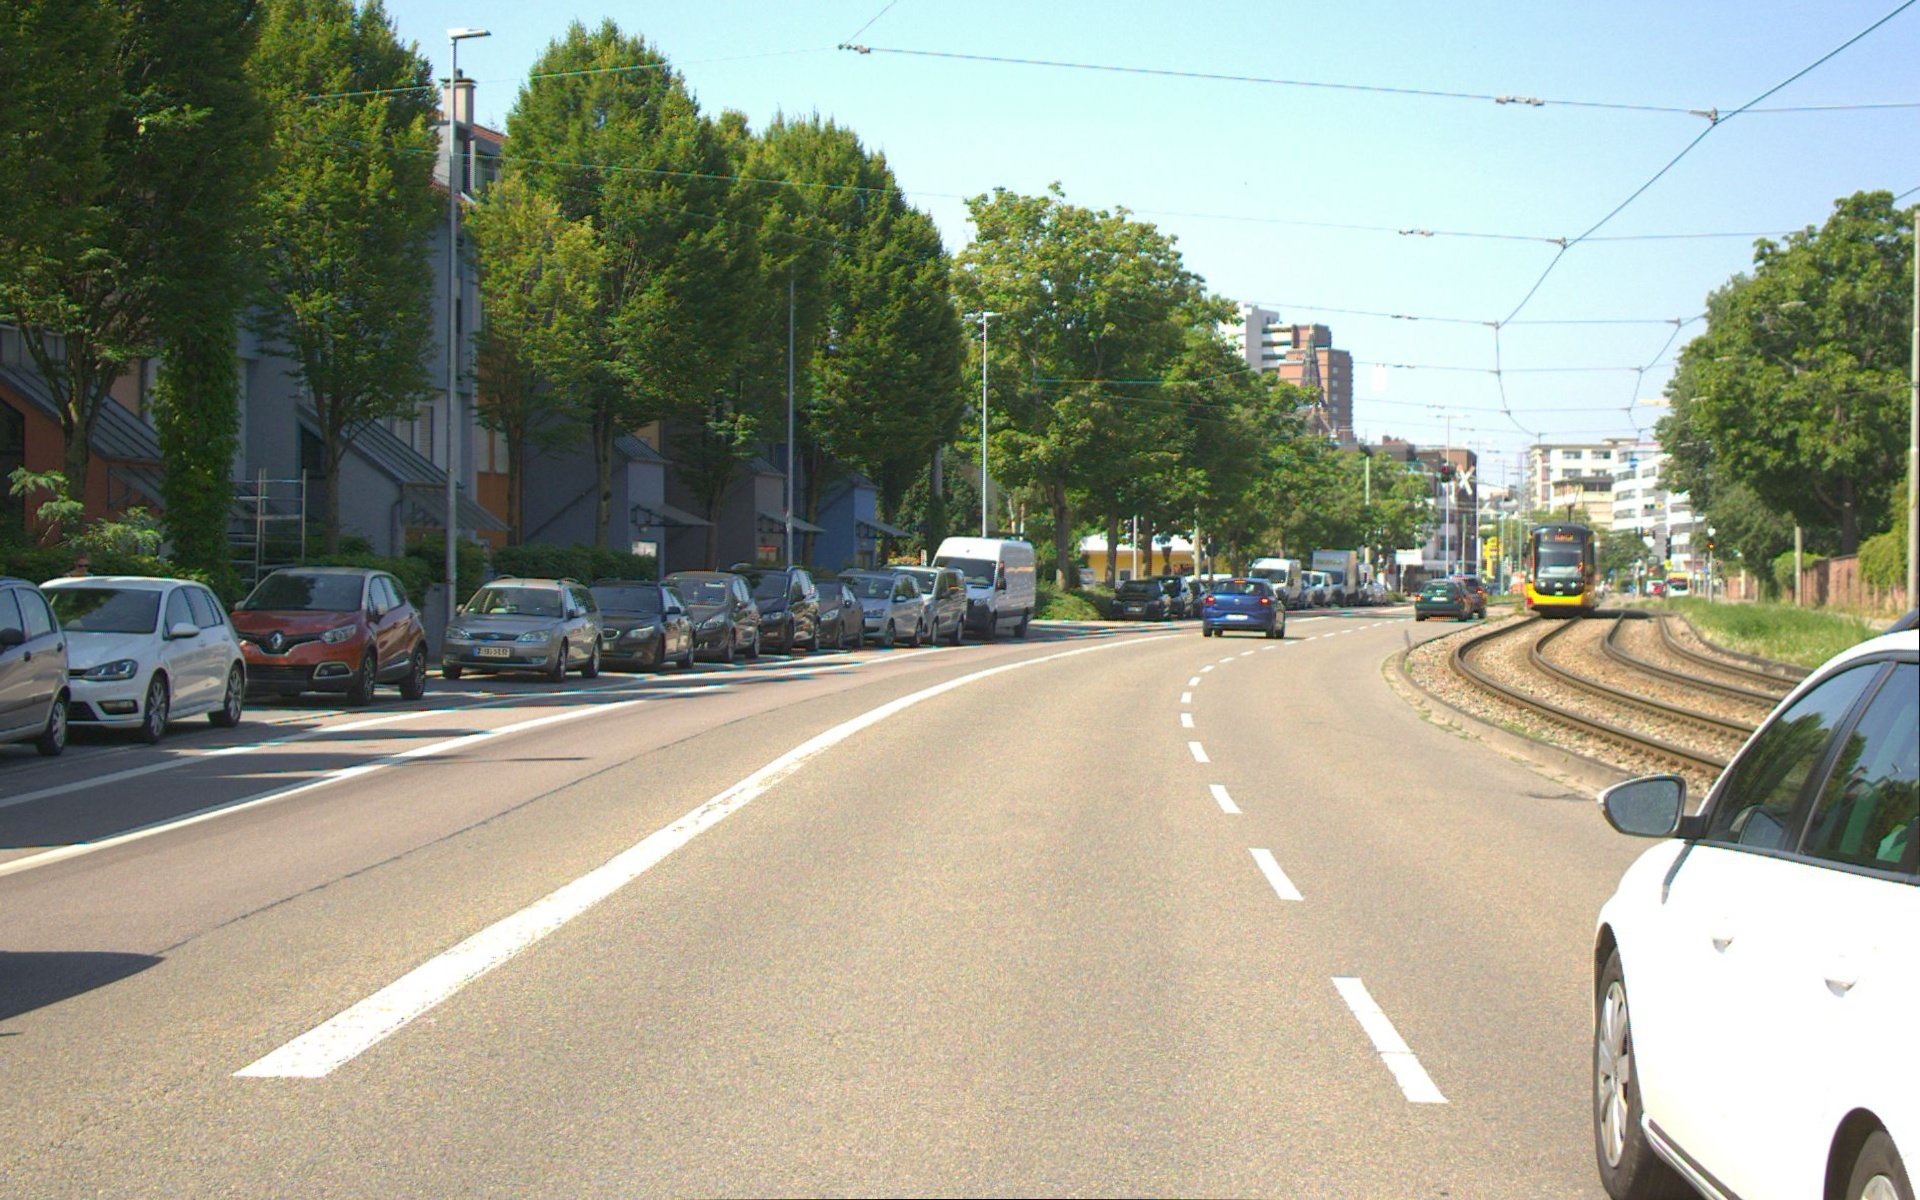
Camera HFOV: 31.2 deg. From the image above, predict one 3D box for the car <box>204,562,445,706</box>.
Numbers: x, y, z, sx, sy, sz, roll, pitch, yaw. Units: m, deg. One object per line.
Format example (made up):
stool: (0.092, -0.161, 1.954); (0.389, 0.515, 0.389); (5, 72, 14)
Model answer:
car: (-7.363, 0.357, 40.228); (1.731, 1.546, 4.318); (2, 1, 4)

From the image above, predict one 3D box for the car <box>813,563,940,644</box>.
car: (-1.896, 0.067, 79.547); (1.801, 1.718, 4.907); (3, 1, 12)

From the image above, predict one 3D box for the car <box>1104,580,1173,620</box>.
car: (6.405, -0.016, 123.113); (1.701, 1.412, 3.997); (0, 0, 14)

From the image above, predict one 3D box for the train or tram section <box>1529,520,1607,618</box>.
train or tram section: (24.436, -1.239, 137.817); (2.513, 3.734, 13.303); (0, 0, 12)

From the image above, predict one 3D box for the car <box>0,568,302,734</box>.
car: (-7.695, 0.436, 32.840); (1.757, 1.424, 4.281); (2, 1, 3)

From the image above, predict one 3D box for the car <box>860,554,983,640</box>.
car: (-0.905, -0.080, 85.110); (1.920, 1.941, 5.352); (3, 1, 11)

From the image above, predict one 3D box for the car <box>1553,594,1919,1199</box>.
car: (2.316, 0.740, 6.527); (1.691, 1.446, 4.458); (1, 1, 1)

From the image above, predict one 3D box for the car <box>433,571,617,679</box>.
car: (-6.408, 0.355, 51.173); (1.781, 1.478, 4.856); (2, 0, 4)

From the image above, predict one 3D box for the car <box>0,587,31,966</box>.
car: (-4.568, 0.697, 11.097); (1.659, 1.415, 4.309); (-1, 0, 4)

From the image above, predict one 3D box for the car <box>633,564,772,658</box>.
car: (-4.724, 0.184, 63.618); (1.717, 1.619, 4.311); (2, 1, 7)

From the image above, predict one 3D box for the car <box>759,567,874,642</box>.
car: (-3.073, 0.086, 74.517); (1.691, 1.469, 4.047); (3, 1, 8)

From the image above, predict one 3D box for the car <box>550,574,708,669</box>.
car: (-5.506, 0.331, 57.688); (1.723, 1.469, 4.714); (2, 1, 5)

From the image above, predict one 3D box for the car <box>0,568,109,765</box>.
car: (-8.153, 0.490, 27.643); (1.609, 1.479, 3.636); (2, 1, 1)

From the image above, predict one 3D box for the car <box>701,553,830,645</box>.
car: (-3.872, -0.038, 69.093); (1.770, 1.717, 4.869); (2, 1, 6)

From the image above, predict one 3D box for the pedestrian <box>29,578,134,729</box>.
pedestrian: (-9.960, 0.598, 39.008); (0.875, 1.685, 1.055); (0, 0, 3)

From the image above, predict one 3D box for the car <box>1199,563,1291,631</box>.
car: (6.904, -0.089, 83.048); (1.801, 1.502, 3.998); (2, 2, 10)

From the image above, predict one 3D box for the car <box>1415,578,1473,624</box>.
car: (16.761, 0.010, 118.938); (1.801, 1.502, 3.998); (2, 1, 10)

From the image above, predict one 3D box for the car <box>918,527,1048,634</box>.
car: (0.695, -0.517, 93.349); (1.996, 2.705, 7.153); (3, 1, 12)

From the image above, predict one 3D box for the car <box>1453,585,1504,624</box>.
car: (19.990, 0.175, 132.388); (1.801, 1.455, 3.998); (0, 0, 10)
